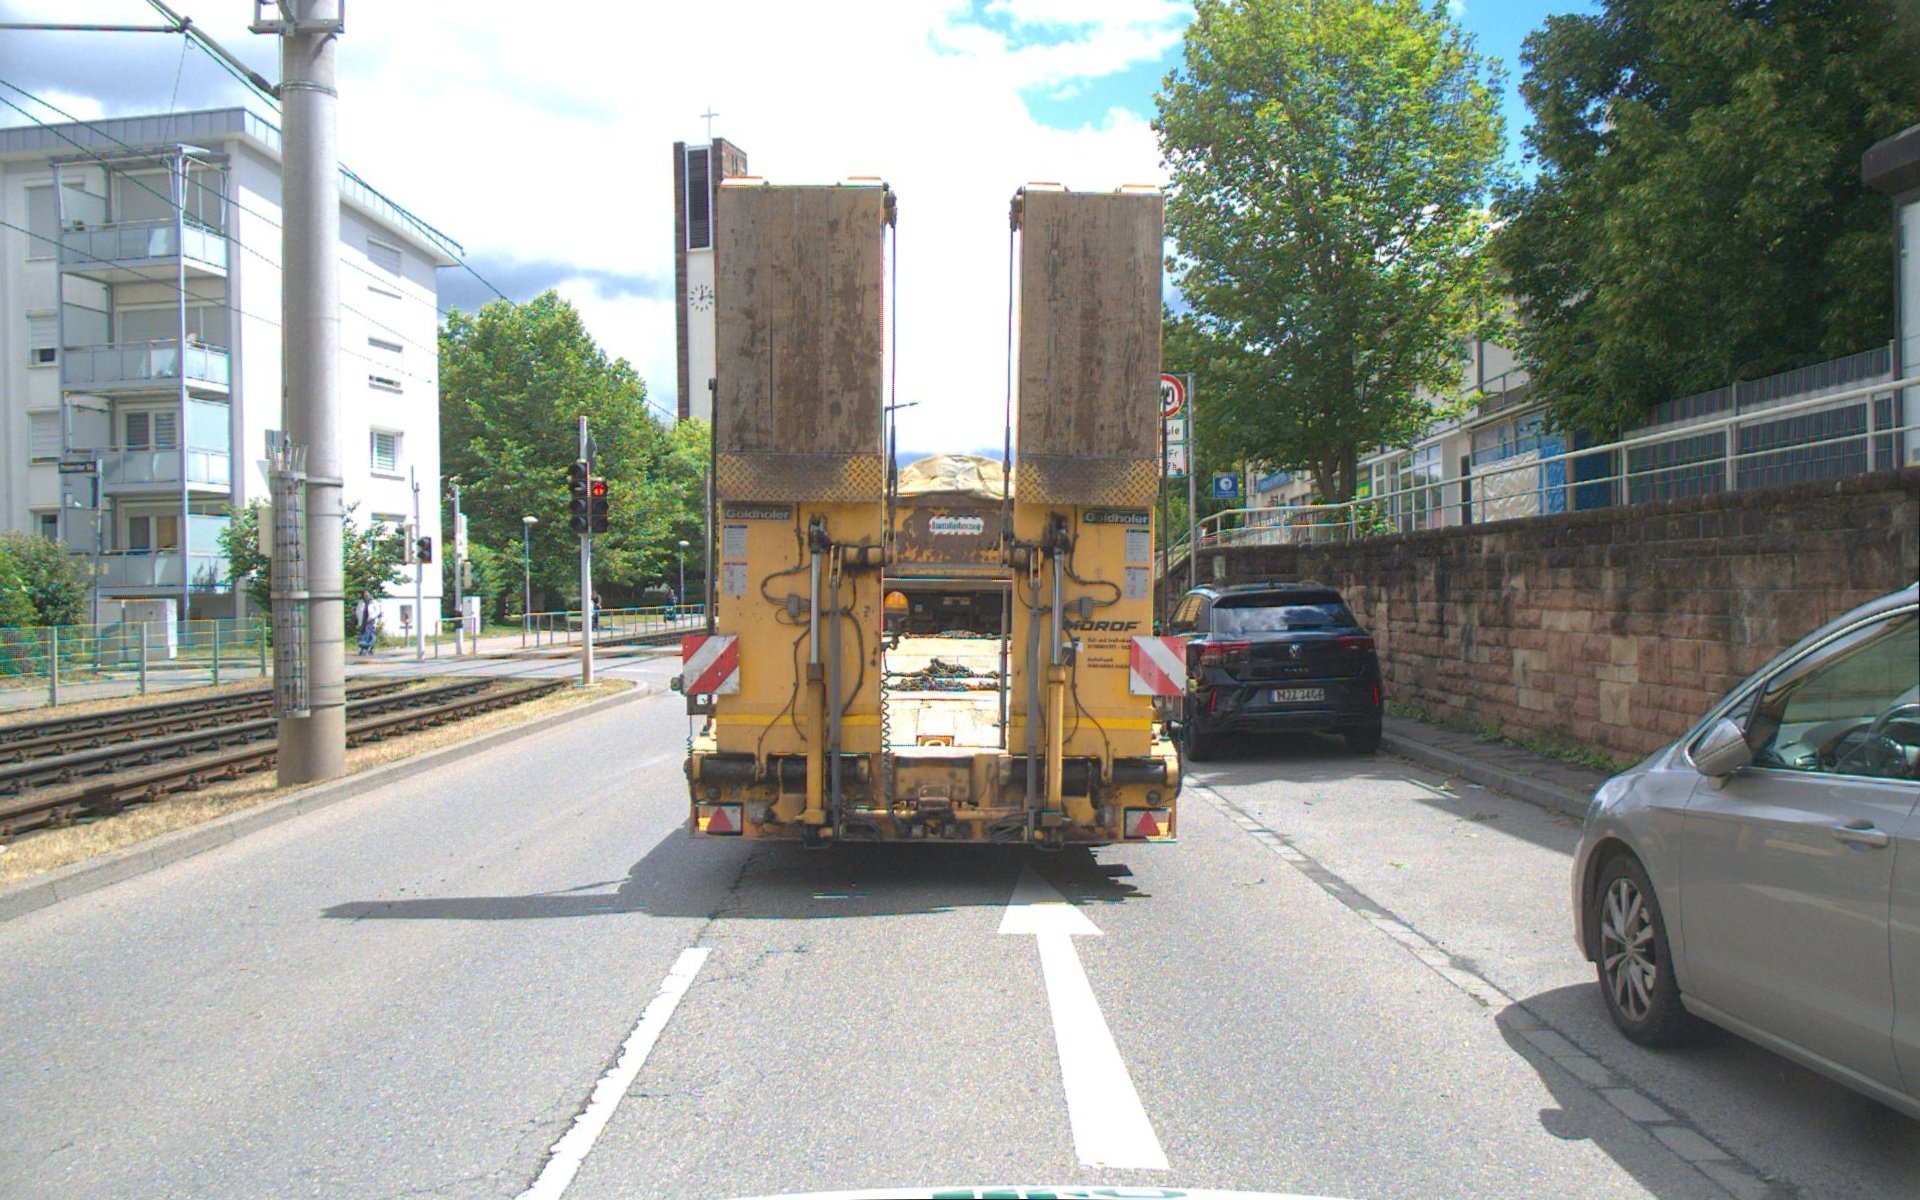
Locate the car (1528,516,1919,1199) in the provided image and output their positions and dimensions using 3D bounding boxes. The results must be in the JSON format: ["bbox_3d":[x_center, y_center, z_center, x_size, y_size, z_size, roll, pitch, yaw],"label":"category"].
[{"bbox_3d":[3.141,0.594,4.251,1.754,1.646,4.247,-2,0,-2],"label":"car"}]

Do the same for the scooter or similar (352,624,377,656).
[{"bbox_3d":[-14.645,0.980,40.678,0.428,0.760,0.475,-1,0,4],"label":"scooter or similar"}]

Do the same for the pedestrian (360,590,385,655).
[{"bbox_3d":[-14.613,0.554,41.153,0.428,1.608,0.475,-1,0,4],"label":"pedestrian"}]

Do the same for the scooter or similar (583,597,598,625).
[{"bbox_3d":[-14.507,0.425,64.936,0.331,1.076,0.688,-1,0,5],"label":"scooter or similar"}]

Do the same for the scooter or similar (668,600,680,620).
[{"bbox_3d":[-14.075,0.502,81.457,0.495,0.988,0.645,1,0,-2],"label":"scooter or similar"}]

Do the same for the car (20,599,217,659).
[{"bbox_3d":[-20.621,0.698,40.624,3.902,1.369,1.903,-1,0,7],"label":"car"}]

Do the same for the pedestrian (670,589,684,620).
[{"bbox_3d":[-14.065,0.230,82.110,0.552,1.540,0.645,1,0,-2],"label":"pedestrian"}]

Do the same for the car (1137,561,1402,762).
[{"bbox_3d":[2.886,0.521,16.262,1.813,1.668,4.000,-2,0,0],"label":"car"}]

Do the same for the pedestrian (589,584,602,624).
[{"bbox_3d":[-14.455,0.164,65.559,0.341,1.564,0.557,-1,0,3],"label":"pedestrian"}]

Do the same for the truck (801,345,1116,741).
[{"bbox_3d":[-0.020,-0.543,17.769,2.882,3.635,4.876,-1,0,0],"label":"truck"}]

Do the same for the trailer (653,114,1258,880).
[{"bbox_3d":[-0.010,-0.527,12.330,2.885,3.664,8.683,-1,0,0],"label":"trailer"}]
